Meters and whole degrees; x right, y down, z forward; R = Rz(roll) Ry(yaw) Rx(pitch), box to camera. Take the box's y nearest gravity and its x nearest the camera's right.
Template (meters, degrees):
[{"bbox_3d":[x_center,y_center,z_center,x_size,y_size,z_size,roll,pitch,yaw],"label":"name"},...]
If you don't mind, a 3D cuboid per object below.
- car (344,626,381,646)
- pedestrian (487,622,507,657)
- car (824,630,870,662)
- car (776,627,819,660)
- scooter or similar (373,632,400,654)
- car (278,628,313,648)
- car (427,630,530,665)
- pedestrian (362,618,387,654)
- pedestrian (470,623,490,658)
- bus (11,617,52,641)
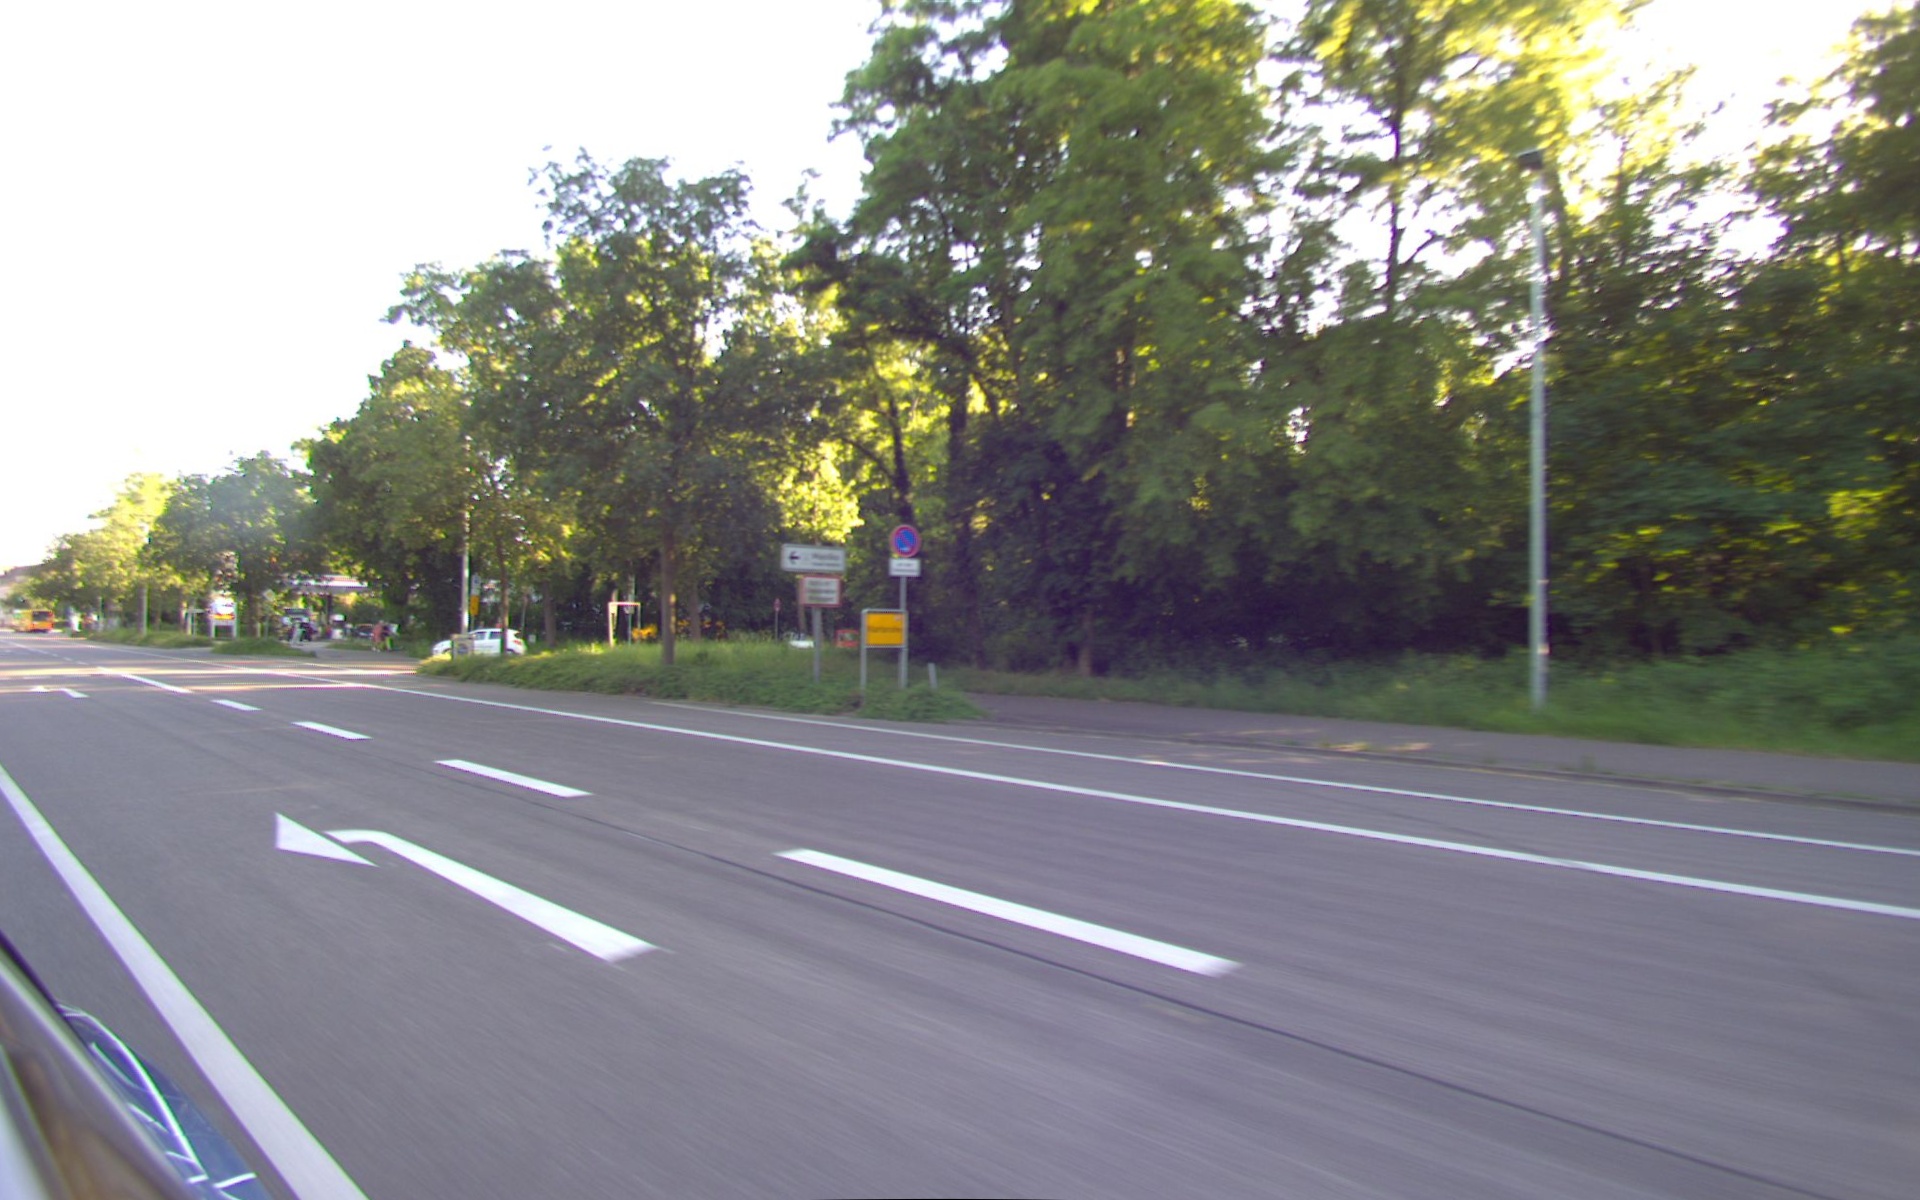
[{"bbox_3d":[-49.344,2.944,83.498,1.734,1.653,3.840,2,-3,-44],"label":"car"},{"bbox_3d":[-24.376,2.065,53.331,0.820,1.833,0.738,1,-2,-17],"label":"pedestrian"},{"bbox_3d":[-6.148,2.439,54.634,1.800,1.666,4.304,1,-2,-15],"label":"car"},{"bbox_3d":[-8.753,2.309,54.129,1.800,1.666,4.304,1,-2,-15],"label":"car"},{"bbox_3d":[-30.853,2.299,54.446,1.334,1.140,0.462,0,-2,19],"label":"scooter or similar"},{"bbox_3d":[-55.364,3.148,84.275,1.734,1.653,3.614,2,-3,-44],"label":"car"},{"bbox_3d":[-21.652,2.147,45.649,3.878,1.537,1.836,1,-2,-13],"label":"car"},{"bbox_3d":[-30.516,1.860,52.724,0.825,1.833,0.735,0,-2,7],"label":"pedestrian"},{"bbox_3d":[-25.544,2.157,53.824,0.820,1.833,0.738,1,-2,-17],"label":"pedestrian"},{"bbox_3d":[-135.035,4.254,147.150,9.471,3.434,3.000,-1,-2,39],"label":"bus"}]
